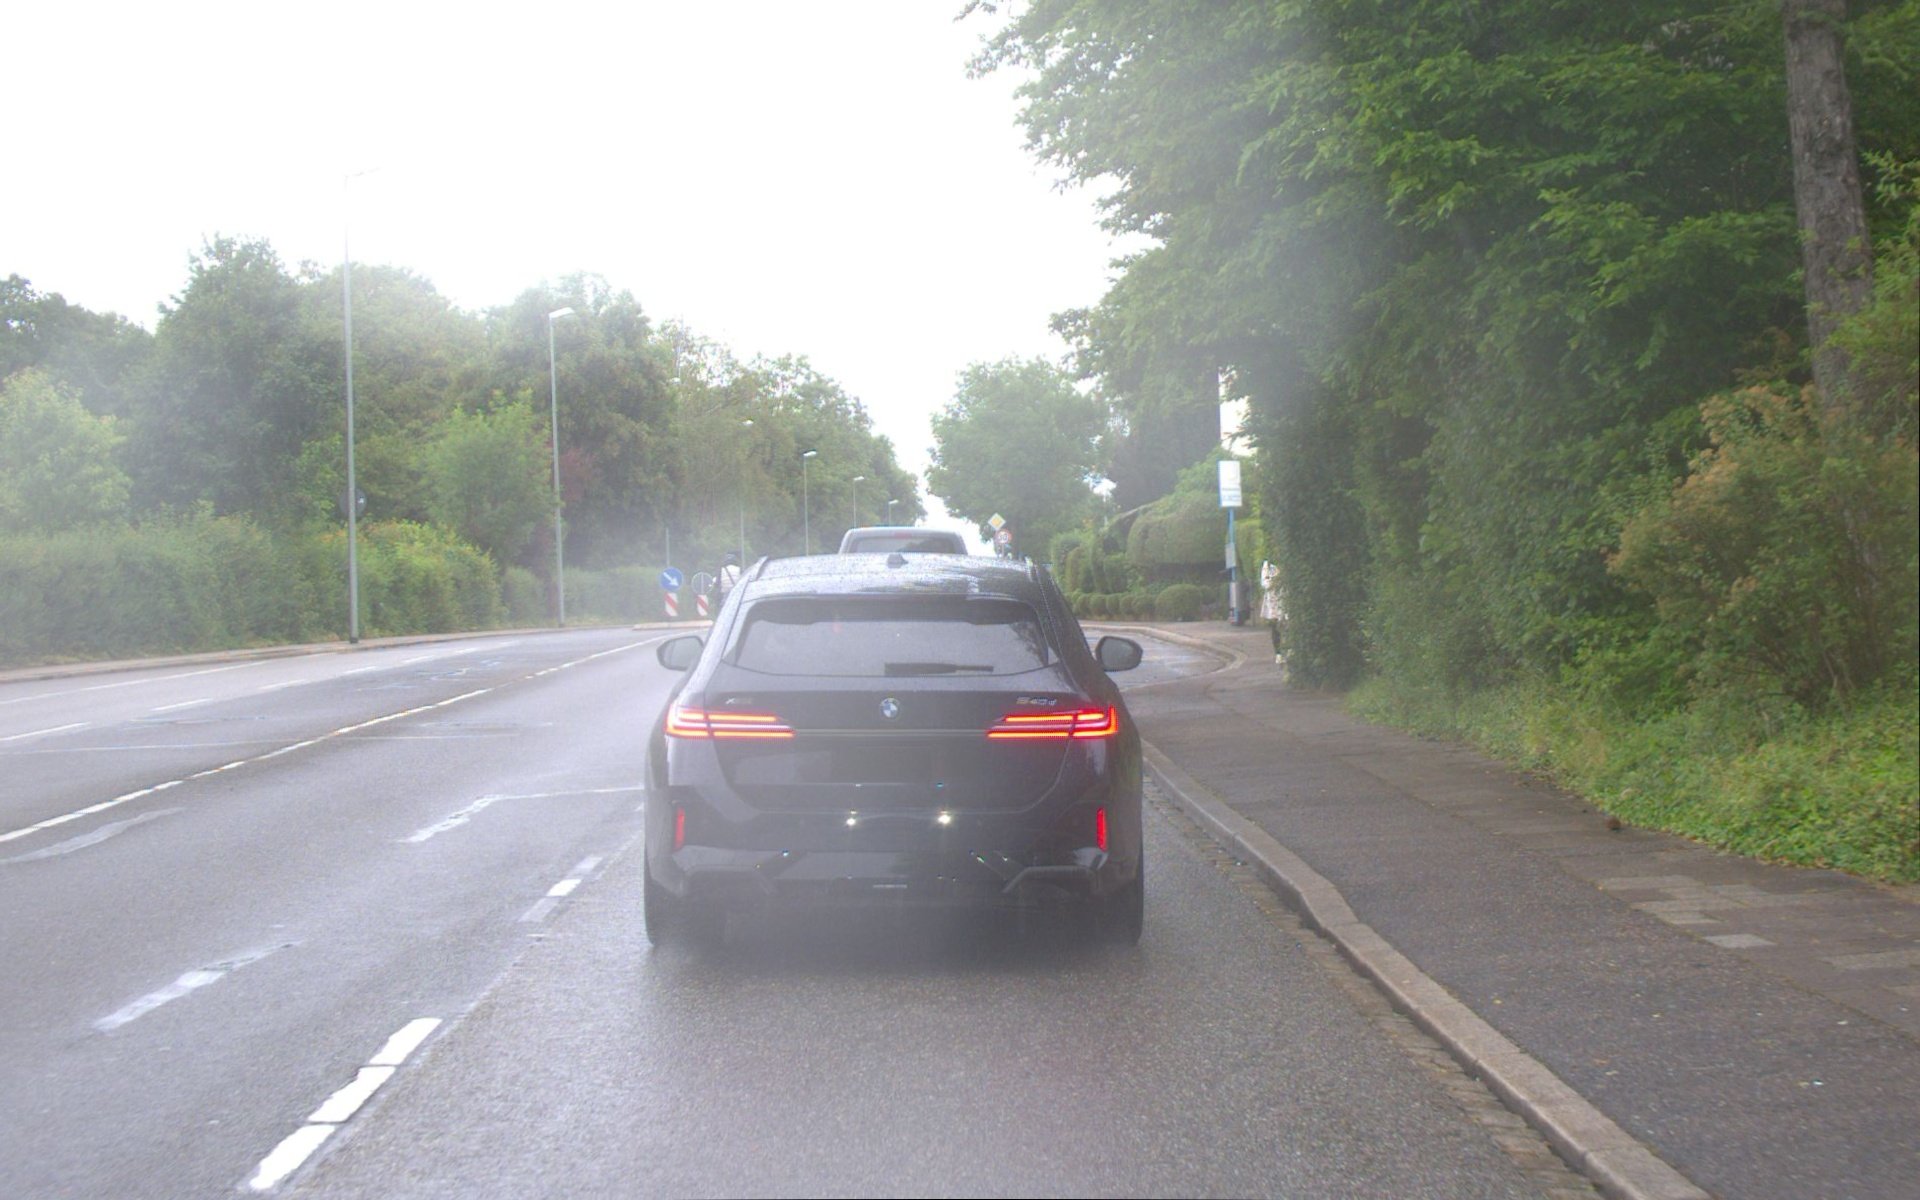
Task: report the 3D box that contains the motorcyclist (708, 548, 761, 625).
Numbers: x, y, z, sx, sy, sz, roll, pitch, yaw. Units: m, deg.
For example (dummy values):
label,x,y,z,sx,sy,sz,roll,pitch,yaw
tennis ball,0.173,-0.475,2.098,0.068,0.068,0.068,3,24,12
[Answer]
label,x,y,z,sx,sy,sz,roll,pitch,yaw
motorcyclist,-4.683,-0.280,71.472,1.039,1.562,0.855,1,0,-1

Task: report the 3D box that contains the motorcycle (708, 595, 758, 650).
label,x,y,z,sx,sy,sz,roll,pitch,yaw
motorcycle,-4.707,0.466,71.451,0.876,1.120,2.741,1,0,-1

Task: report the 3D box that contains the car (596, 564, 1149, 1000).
label,x,y,z,sx,sy,sz,roll,pitch,yaw
car,-0.288,0.623,13.950,1.897,1.484,4.000,1,0,1

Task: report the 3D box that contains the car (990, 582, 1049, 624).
label,x,y,z,sx,sy,sz,roll,pitch,yaw
car,2.109,0.094,120.824,1.935,1.437,4.407,-1,0,2

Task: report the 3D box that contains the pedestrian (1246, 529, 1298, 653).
label,x,y,z,sx,sy,sz,roll,pitch,yaw
pedestrian,4.045,-0.116,44.540,0.610,1.588,0.646,-1,1,8

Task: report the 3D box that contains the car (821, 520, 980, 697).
label,x,y,z,sx,sy,sz,roll,pitch,yaw
car,-0.648,0.065,38.413,1.629,1.827,4.000,-2,1,-1
